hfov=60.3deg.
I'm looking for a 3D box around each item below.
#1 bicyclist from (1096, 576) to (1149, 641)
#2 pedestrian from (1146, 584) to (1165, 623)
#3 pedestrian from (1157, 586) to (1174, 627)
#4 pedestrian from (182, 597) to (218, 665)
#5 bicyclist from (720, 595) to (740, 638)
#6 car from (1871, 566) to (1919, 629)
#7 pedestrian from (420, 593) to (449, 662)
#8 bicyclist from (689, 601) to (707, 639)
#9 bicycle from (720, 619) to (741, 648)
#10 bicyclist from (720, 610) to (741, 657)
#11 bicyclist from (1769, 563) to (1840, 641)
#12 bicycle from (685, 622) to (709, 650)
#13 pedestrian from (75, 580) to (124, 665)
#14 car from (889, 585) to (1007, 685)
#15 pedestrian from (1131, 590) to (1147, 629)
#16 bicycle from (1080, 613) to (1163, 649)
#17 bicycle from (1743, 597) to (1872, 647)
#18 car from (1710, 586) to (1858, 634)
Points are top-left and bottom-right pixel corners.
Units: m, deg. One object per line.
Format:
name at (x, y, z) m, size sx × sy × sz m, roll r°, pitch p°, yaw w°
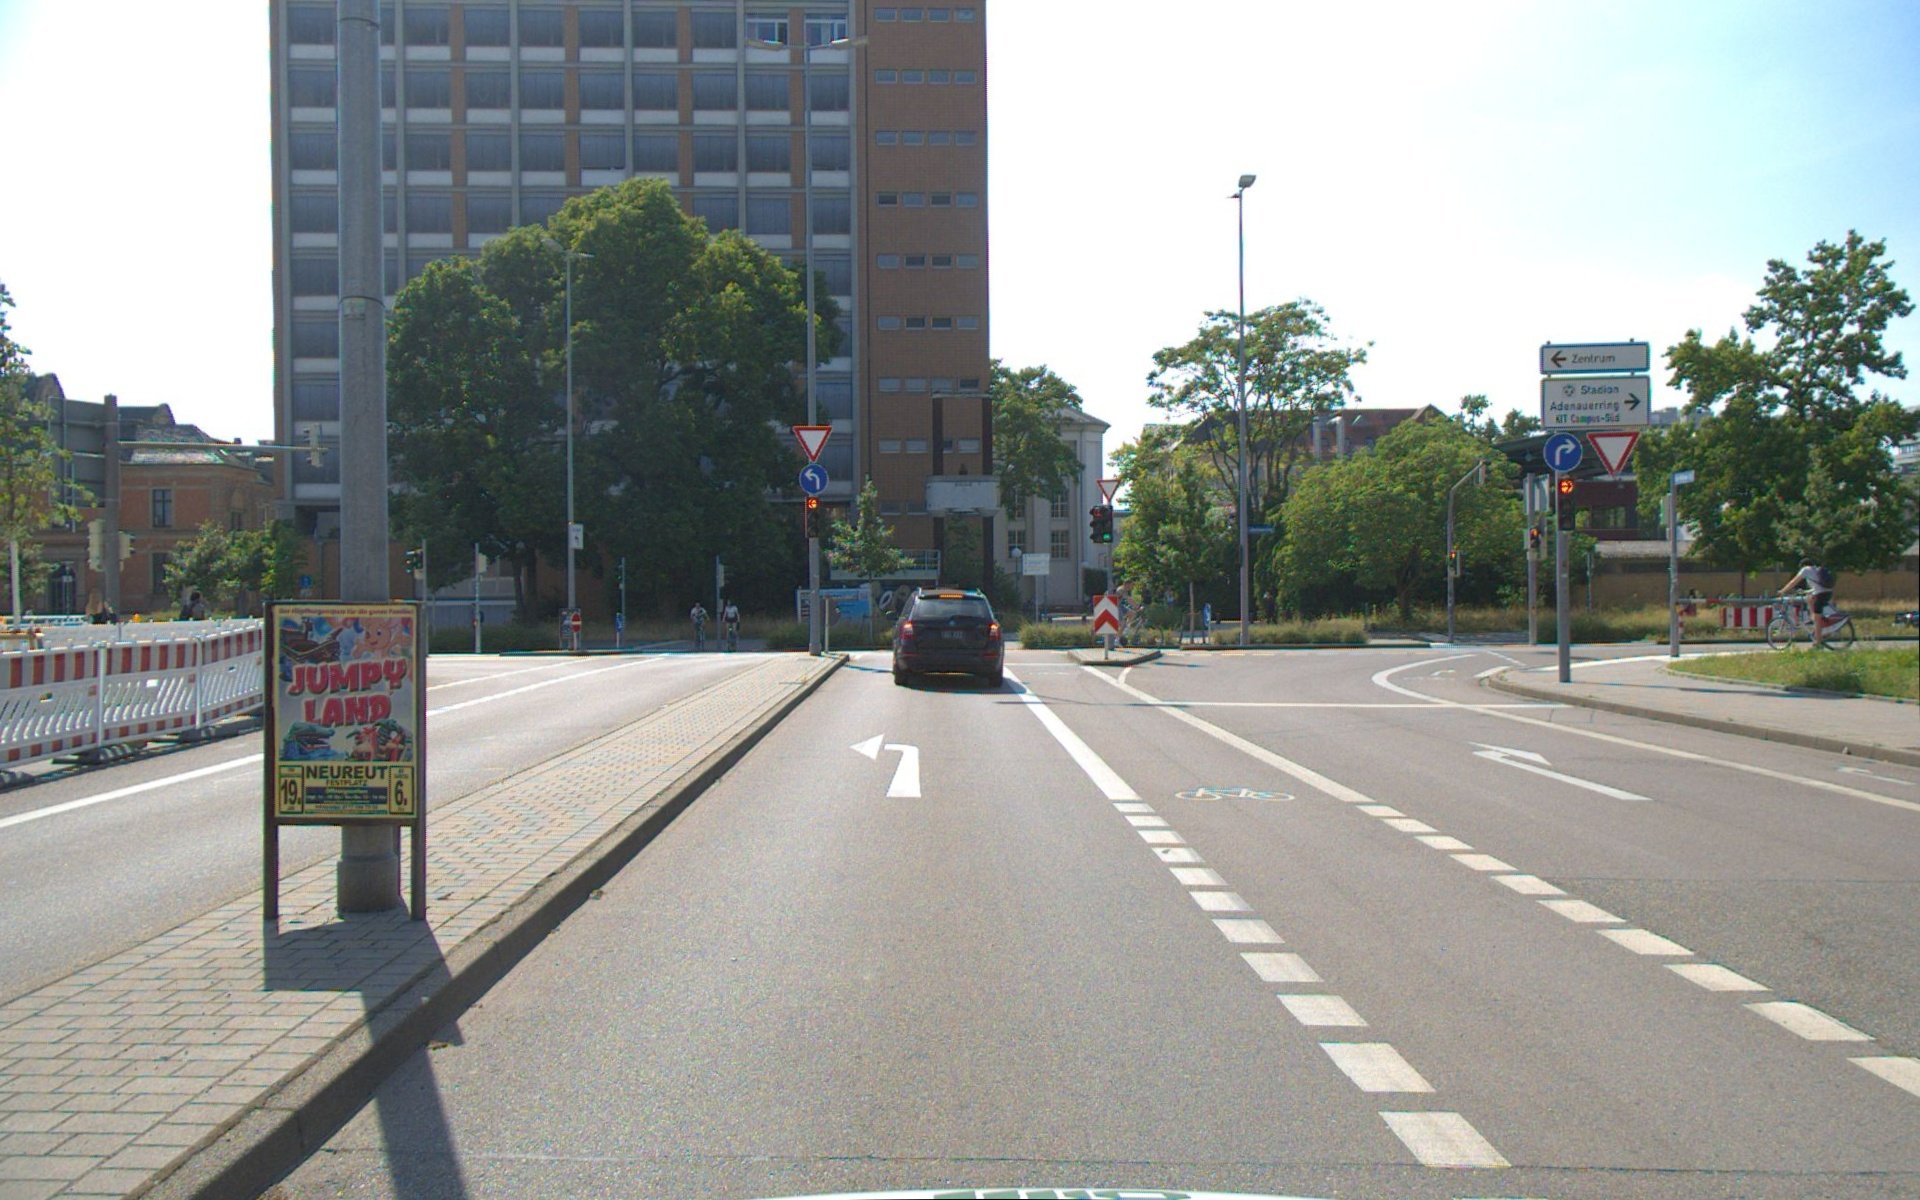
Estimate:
bicyclist at (3.791, 0.197, 38.563) m, size 1.140 × 1.500 × 0.564 m, roll -1°, pitch 0°, yaw 11°
pedestrian at (9.575, 0.187, 80.993) m, size 0.778 × 1.907 × 0.638 m, roll 1°, pitch -1°, yaw 24°
pedestrian at (9.928, 0.309, 80.052) m, size 0.624 × 1.907 × 0.796 m, roll -2°, pitch 0°, yaw -1°
pedestrian at (-17.107, 0.691, 37.242) m, size 0.621 × 1.518 × 0.614 m, roll -1°, pitch 0°, yaw -17°
bicyclist at (-8.191, 0.589, 58.877) m, size 0.606 × 1.468 × 0.919 m, roll -3°, pitch 0°, yaw -6°
car at (32.920, -0.109, 55.179) m, size 3.905 × 2.049 × 2.000 m, roll -1°, pitch 0°, yaw 1°
pedestrian at (-15.784, 0.819, 49.671) m, size 0.610 × 2.049 × 0.678 m, roll 2°, pitch -1°, yaw -38°
bicyclist at (-10.002, 0.763, 63.133) m, size 0.528 × 1.441 × 1.029 m, roll -2°, pitch -1°, yaw -3°
bicycle at (-8.159, 1.182, 58.878) m, size 0.606 × 0.977 × 1.965 m, roll -3°, pitch 0°, yaw -6°
bicyclist at (-8.159, 1.182, 58.878) m, size 0.606 × 1.609 × 1.012 m, roll -3°, pitch 0°, yaw -6°
bicyclist at (16.426, 0.041, 32.171) m, size 0.492 × 1.496 × 1.125 m, roll 2°, pitch -1°, yaw -43°
bicycle at (-10.006, 1.367, 63.028) m, size 0.690 × 0.994 × 2.029 m, roll -1°, pitch 0°, yaw -3°
pedestrian at (-18.428, 0.491, 35.429) m, size 0.724 × 1.783 × 1.105 m, roll -1°, pitch -2°, yaw -17°
car at (-0.201, 0.519, 26.579) m, size 1.743 × 1.468 × 3.817 m, roll 1°, pitch 0°, yaw -1°
pedestrian at (8.775, 0.474, 81.196) m, size 0.584 × 1.907 × 0.639 m, roll 1°, pitch -1°, yaw 22°
bicycle at (3.768, 0.730, 38.566) m, size 1.849 × 0.806 × 0.561 m, roll -1°, pitch 1°, yaw 11°
bicycle at (16.480, 0.431, 32.187) m, size 0.669 × 0.932 × 2.134 m, roll -1°, pitch 0°, yaw -43°
car at (27.315, 0.342, 54.901) m, size 3.906 × 1.490 × 1.999 m, roll -1°, pitch -1°, yaw -2°
